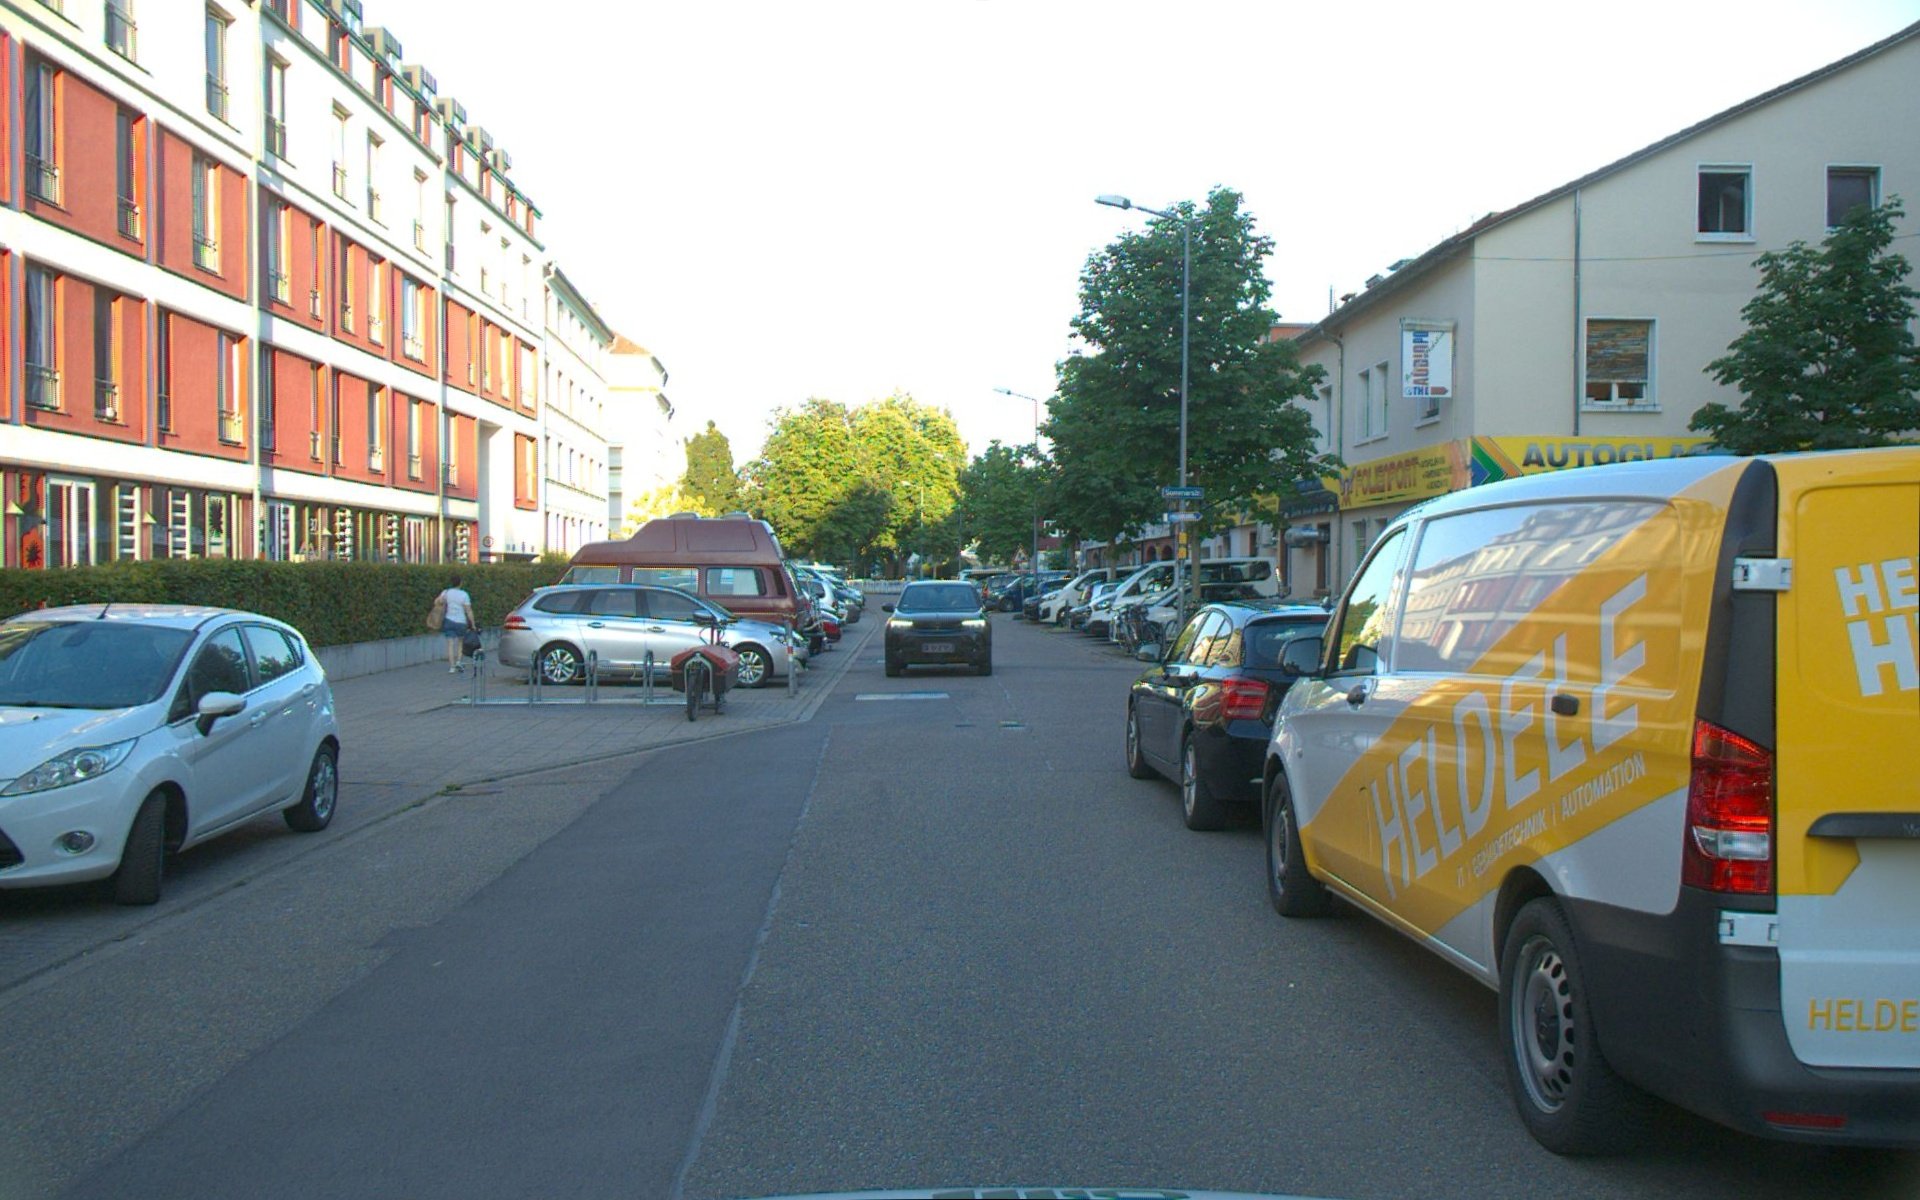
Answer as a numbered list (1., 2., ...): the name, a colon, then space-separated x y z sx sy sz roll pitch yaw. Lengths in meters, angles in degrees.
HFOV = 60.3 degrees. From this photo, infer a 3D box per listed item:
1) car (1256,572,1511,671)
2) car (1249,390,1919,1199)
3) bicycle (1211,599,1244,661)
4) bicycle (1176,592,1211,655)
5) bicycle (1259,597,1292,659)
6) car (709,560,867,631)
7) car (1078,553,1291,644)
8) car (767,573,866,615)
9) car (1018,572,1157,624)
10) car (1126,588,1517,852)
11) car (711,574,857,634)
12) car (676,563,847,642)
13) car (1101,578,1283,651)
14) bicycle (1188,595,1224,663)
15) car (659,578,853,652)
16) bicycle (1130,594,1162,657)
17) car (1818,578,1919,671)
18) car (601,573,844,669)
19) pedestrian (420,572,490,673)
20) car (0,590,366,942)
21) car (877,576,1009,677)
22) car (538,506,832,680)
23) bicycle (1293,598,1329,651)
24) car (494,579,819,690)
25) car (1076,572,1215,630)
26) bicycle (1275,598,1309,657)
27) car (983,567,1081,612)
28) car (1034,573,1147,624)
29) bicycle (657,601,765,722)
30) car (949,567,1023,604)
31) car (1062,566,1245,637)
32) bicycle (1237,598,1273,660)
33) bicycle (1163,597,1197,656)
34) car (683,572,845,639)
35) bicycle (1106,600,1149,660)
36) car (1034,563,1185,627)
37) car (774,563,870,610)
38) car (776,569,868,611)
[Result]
1. car: 7.303 0.348 28.773 3.968 1.540 1.756 -1 2 -1
2. car: 2.499 0.504 5.976 1.855 1.916 5.080 1 1 -2
3. bicycle: 5.456 0.603 33.803 0.378 1.221 1.481 -1 1 -1
4. bicycle: 4.782 0.467 33.934 0.378 1.221 2.017 -1 1 -1
5. bicycle: 6.444 0.559 33.784 0.346 1.221 1.481 -1 1 -1
6. car: -5.358 -0.153 52.052 4.752 2.056 1.906 1 1 -2
7. car: 5.489 -0.051 40.872 4.888 2.018 2.219 -2 1 -1
8. car: -6.318 -0.282 73.126 4.170 1.744 2.000 1 1 -2
9. car: 4.664 -0.095 60.962 4.846 1.718 2.076 -2 1 -3
10. car: 2.285 0.676 11.593 1.686 1.449 4.252 1 1 -2
11. car: -5.228 0.105 49.502 4.170 1.681 1.887 1 1 -2
12. car: -5.063 0.053 42.676 4.170 1.868 2.000 1 1 -2
13. car: 5.291 0.314 38.083 3.841 1.476 1.767 -2 1 -4
14. bicycle: 5.041 0.567 33.950 0.378 1.327 2.017 -1 1 -1
15. car: -4.533 0.312 37.270 4.123 1.516 1.849 1 1 -1
16. bicycle: 3.807 0.502 33.892 0.378 1.221 2.017 -1 1 -1
17. car: 16.638 0.395 27.954 1.706 1.536 4.570 0 0 -3
18. car: -4.181 0.352 29.669 4.125 1.565 1.790 1 1 -3
19. pedestrian: -7.850 0.343 25.748 0.815 1.527 0.798 1 0 -1
20. car: -4.825 0.743 9.489 1.618 1.557 4.014 1 1 -4
21. car: -0.206 0.389 27.810 1.742 1.544 4.003 -1 1 6
22. car: -4.414 -0.120 27.091 4.419 2.629 2.000 1 1 0
23. bicycle: 7.190 0.485 33.928 0.380 1.035 1.481 -1 1 -1
24. car: -4.391 0.487 24.518 4.525 1.485 1.879 1 1 -5
25. car: 5.441 0.017 48.850 3.832 1.552 1.939 -2 1 -1
26. bicycle: 6.795 0.545 33.873 0.346 1.163 1.481 -1 1 -1
27. car: 3.410 -0.513 78.411 4.393 1.945 1.686 -2 1 -6
28. car: 5.162 -0.079 65.880 4.231 1.835 1.810 -2 1 -3
29. bicycle: -2.850 0.663 19.259 0.791 1.242 2.865 1 1 0
30. car: 1.458 -0.818 93.959 3.892 1.945 2.047 -2 1 -6
31. car: 5.352 0.031 46.214 4.843 1.772 2.049 -2 1 -1
32. bicycle: 6.023 0.575 33.784 0.436 1.221 1.481 -1 1 -1
33. bicycle: 4.503 0.529 33.941 0.378 1.133 2.017 -1 1 -1
34. car: -5.303 0.129 45.144 4.170 1.689 2.000 1 1 -2
35. bicycle: 3.403 0.588 33.697 0.429 1.150 2.014 -1 1 -7
36. car: 5.035 -0.180 56.122 4.846 1.992 2.048 -2 1 -3
37. car: -6.690 -0.668 80.524 4.442 2.171 2.000 1 1 -2
38. car: -6.483 -0.478 77.893 4.170 1.780 2.000 1 2 -2
